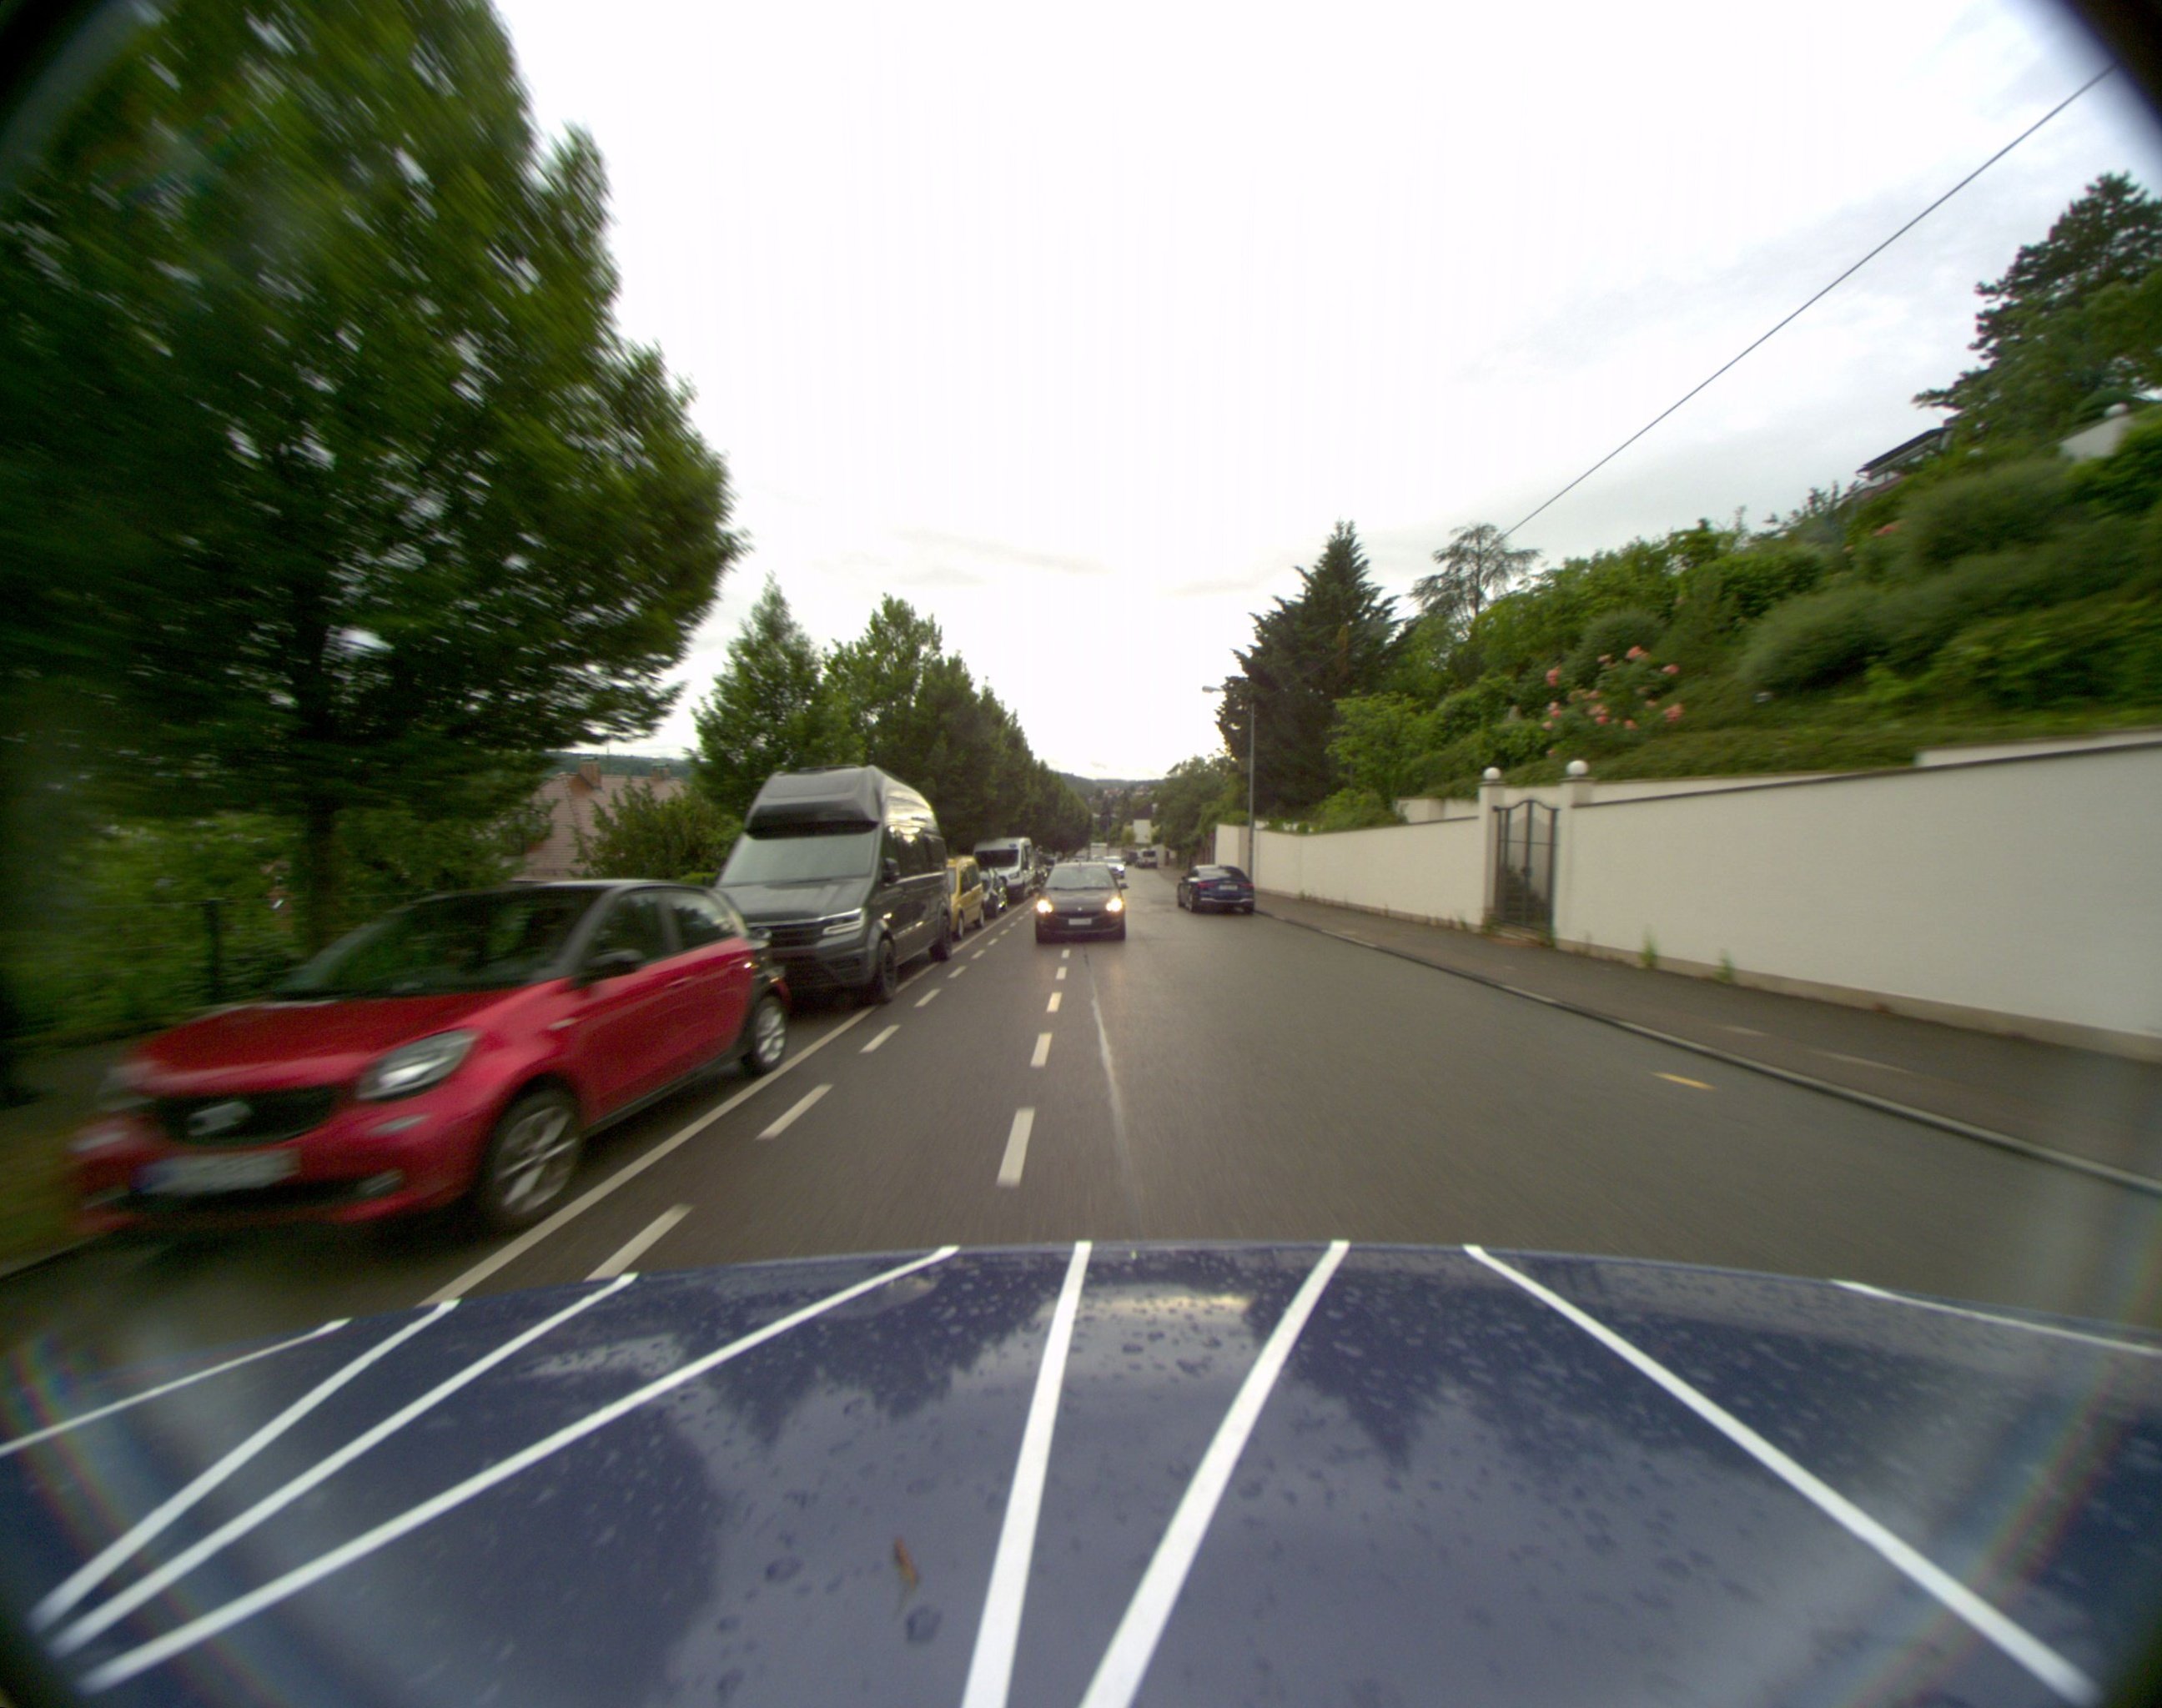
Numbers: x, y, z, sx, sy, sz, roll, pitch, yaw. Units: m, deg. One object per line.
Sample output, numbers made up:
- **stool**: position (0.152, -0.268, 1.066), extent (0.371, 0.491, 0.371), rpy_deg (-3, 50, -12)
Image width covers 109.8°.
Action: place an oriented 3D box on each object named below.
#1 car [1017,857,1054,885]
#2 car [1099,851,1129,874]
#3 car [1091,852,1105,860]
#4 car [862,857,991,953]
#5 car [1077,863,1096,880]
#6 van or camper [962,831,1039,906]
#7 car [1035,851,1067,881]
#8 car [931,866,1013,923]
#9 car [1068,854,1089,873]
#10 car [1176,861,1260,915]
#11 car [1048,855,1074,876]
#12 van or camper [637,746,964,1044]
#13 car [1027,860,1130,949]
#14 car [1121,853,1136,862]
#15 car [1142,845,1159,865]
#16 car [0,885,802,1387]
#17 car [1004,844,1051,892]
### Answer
- **car**: position (-2.664, 0.971, 45.270), extent (1.725, 1.426, 4.326), rpy_deg (-3, 0, 2)
- **car**: position (2.575, 0.638, 58.784), extent (2.190, 1.698, 4.884), rpy_deg (1, 0, 3)
- **car**: position (3.132, 0.420, 140.590), extent (1.852, 1.489, 3.763), rpy_deg (0, 0, -12)
- **car**: position (-3.247, 1.008, 16.922), extent (1.725, 1.738, 4.403), rpy_deg (-3, 0, 2)
- **car**: position (0.619, 1.822, 80.890), extent (1.725, 1.619, 4.403), rpy_deg (-3, 0, 2)
- **van or camper**: position (-3.005, 0.495, 29.572), extent (2.170, 2.540, 5.616), rpy_deg (-3, 0, 1)
- **car**: position (-1.946, 0.765, 50.486), extent (1.725, 1.844, 4.403), rpy_deg (-3, 0, 2)
- **car**: position (-3.149, 1.126, 22.730), extent (1.725, 1.366, 4.402), rpy_deg (-3, 0, 0)
- **car**: position (-0.211, 0.860, 71.520), extent (1.725, 1.619, 4.403), rpy_deg (-3, 0, 2)
- **car**: position (4.041, 0.966, 23.091), extent (1.812, 1.421, 4.254), rpy_deg (0, 0, 0)
- **car**: position (-1.602, 0.893, 60.909), extent (1.725, 1.495, 4.201), rpy_deg (-3, 0, 2)
- **van or camper**: position (-3.240, 0.405, 10.435), extent (2.129, 2.893, 5.728), rpy_deg (-2, 0, 1)
- **car**: position (0.063, 0.893, 15.415), extent (1.783, 1.477, 4.406), rpy_deg (0, 0, 3)
- **car**: position (7.515, 0.522, 121.390), extent (1.851, 1.489, 3.765), rpy_deg (0, 0, -5)
- **car**: position (8.750, 0.158, 95.732), extent (2.108, 2.468, 4.566), rpy_deg (0, 0, 5)
- **car**: position (-3.261, 1.062, 4.533), extent (1.686, 1.531, 3.833), rpy_deg (-2, 0, 1)
- **car**: position (-2.588, 0.651, 37.603), extent (1.725, 2.126, 4.403), rpy_deg (-3, 0, 2)
